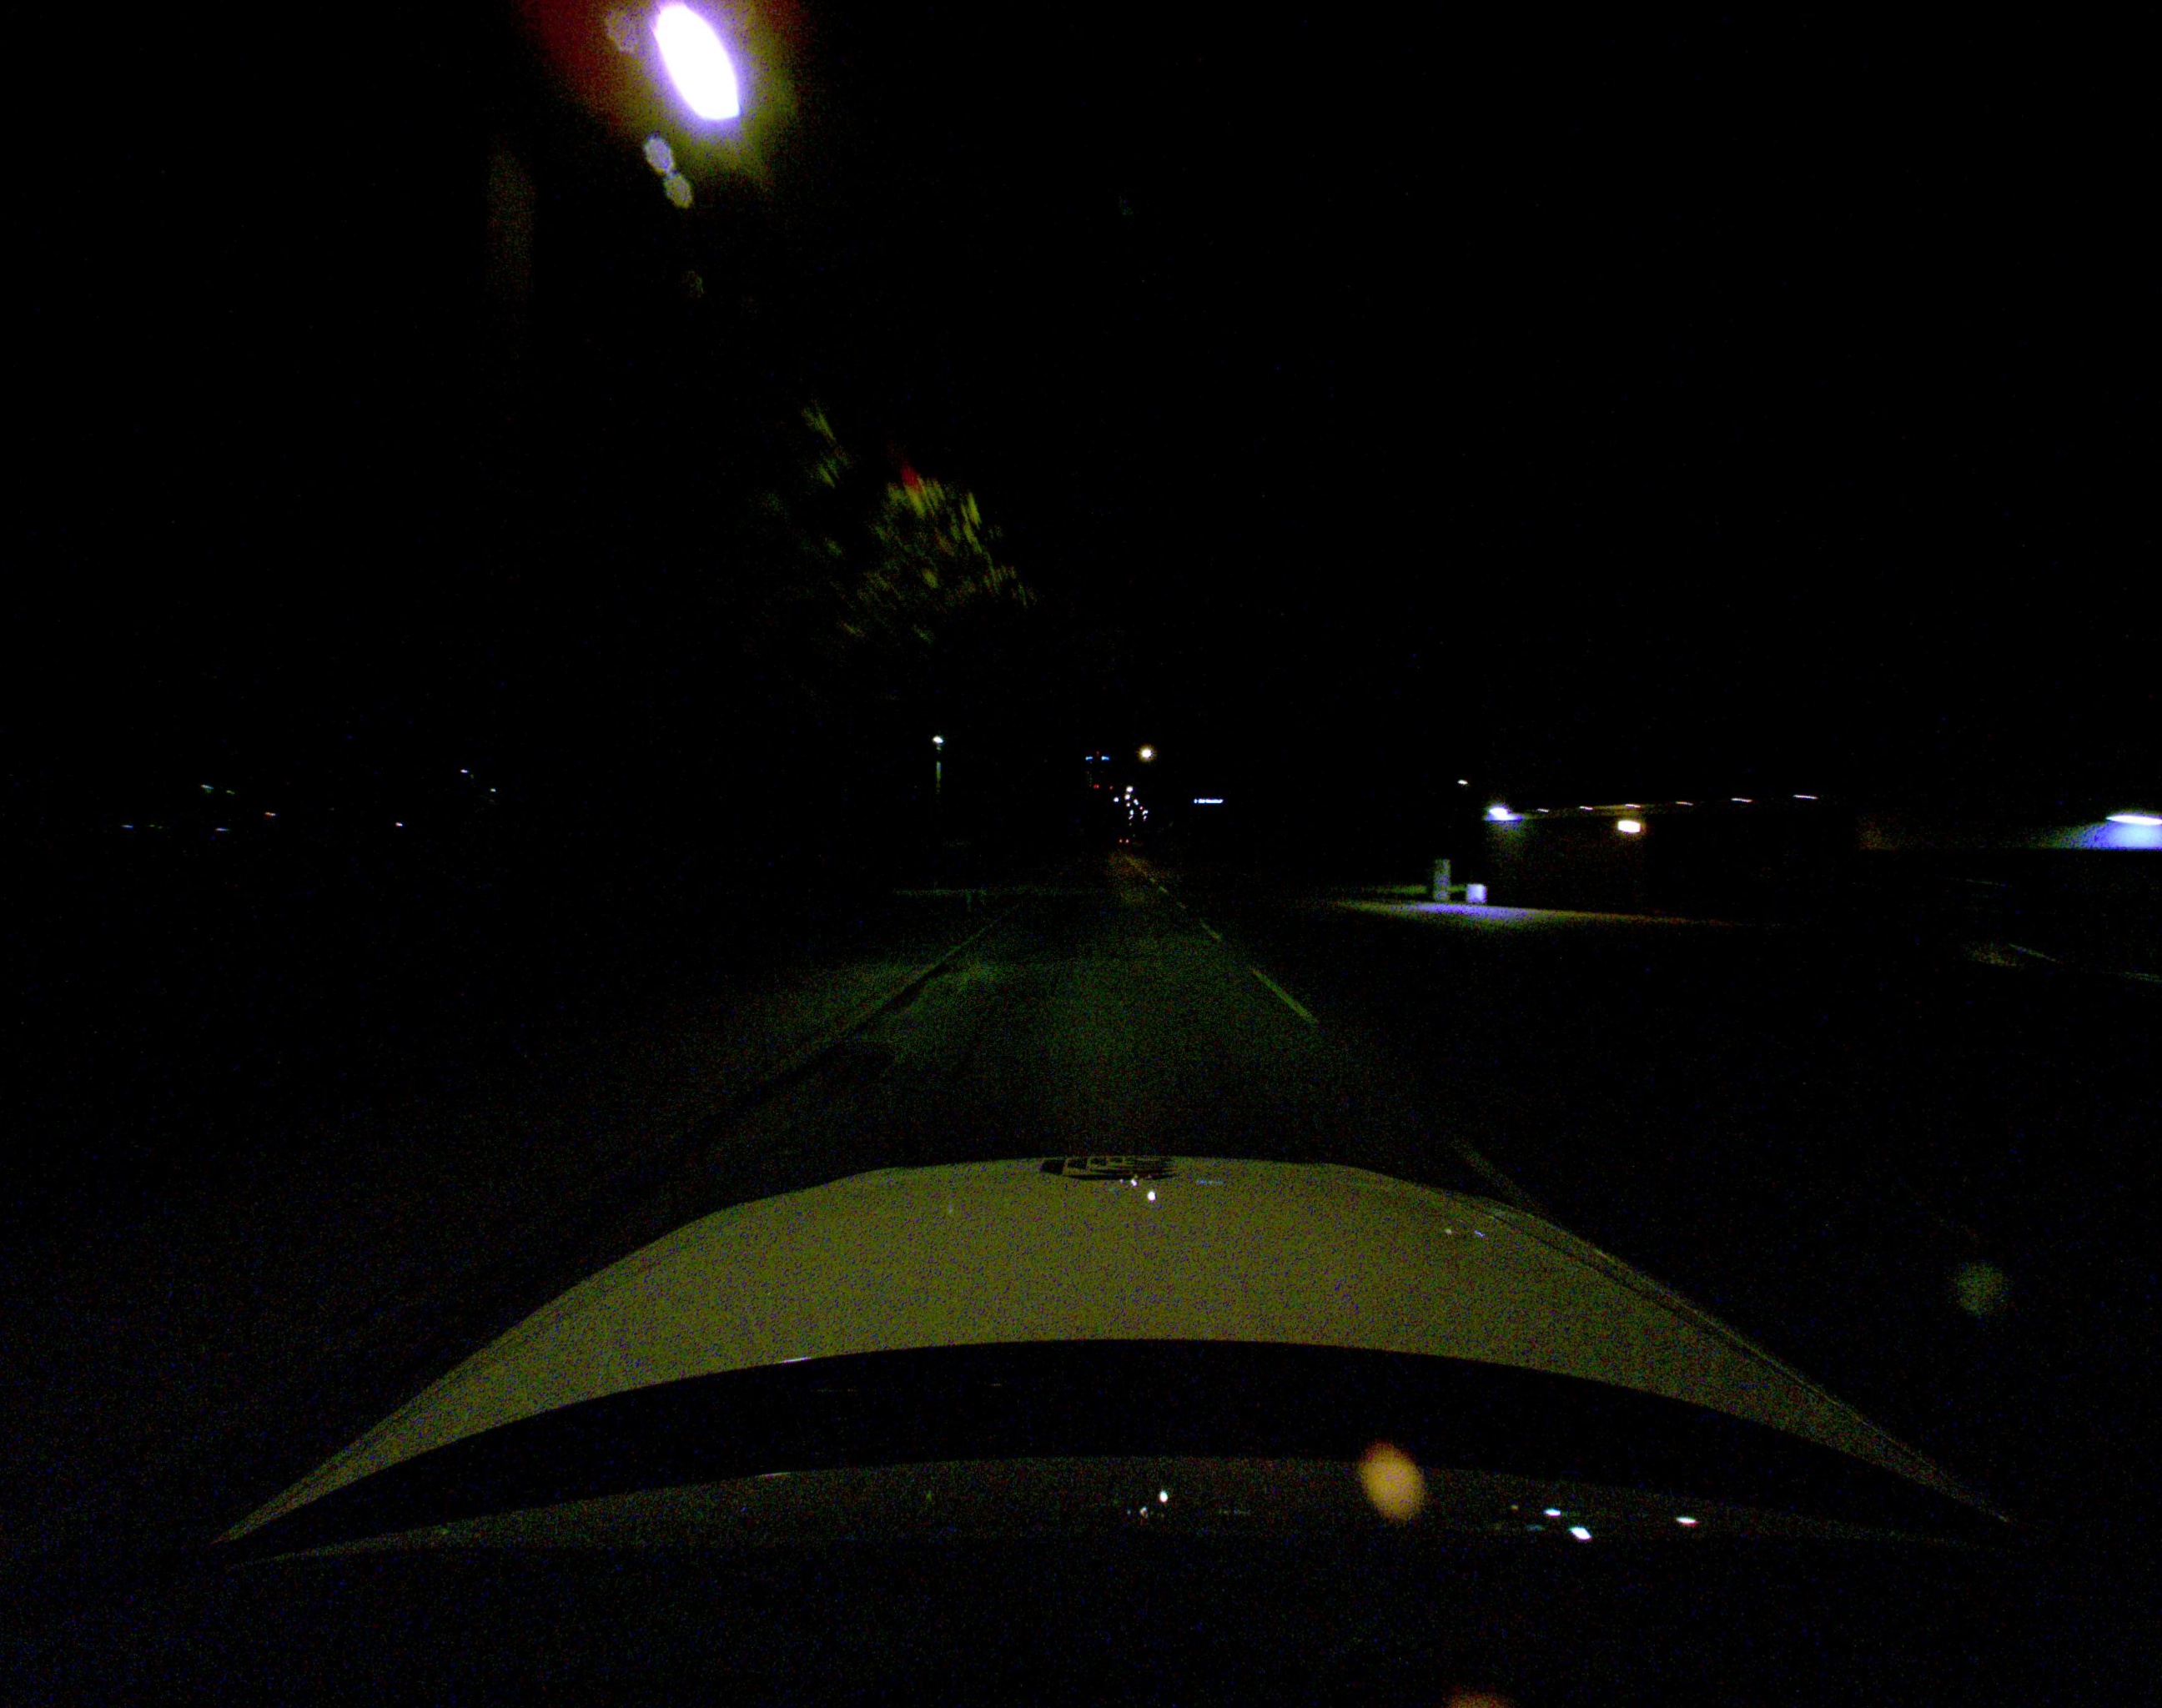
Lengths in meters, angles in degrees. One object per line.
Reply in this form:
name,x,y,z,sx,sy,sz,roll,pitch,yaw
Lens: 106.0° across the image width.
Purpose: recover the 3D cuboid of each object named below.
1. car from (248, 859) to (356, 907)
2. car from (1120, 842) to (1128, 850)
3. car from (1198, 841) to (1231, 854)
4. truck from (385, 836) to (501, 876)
car,-25.577,0.901,26.888,1.770,1.445,3.985,0,0,-32
car,10.295,-2.029,197.137,1.917,1.854,4.002,0,-1,2
car,16.557,-0.816,101.122,3.827,1.544,1.808,0,1,-1
truck,-49.064,0.184,62.870,6.825,2.844,1.979,2,-1,-34
